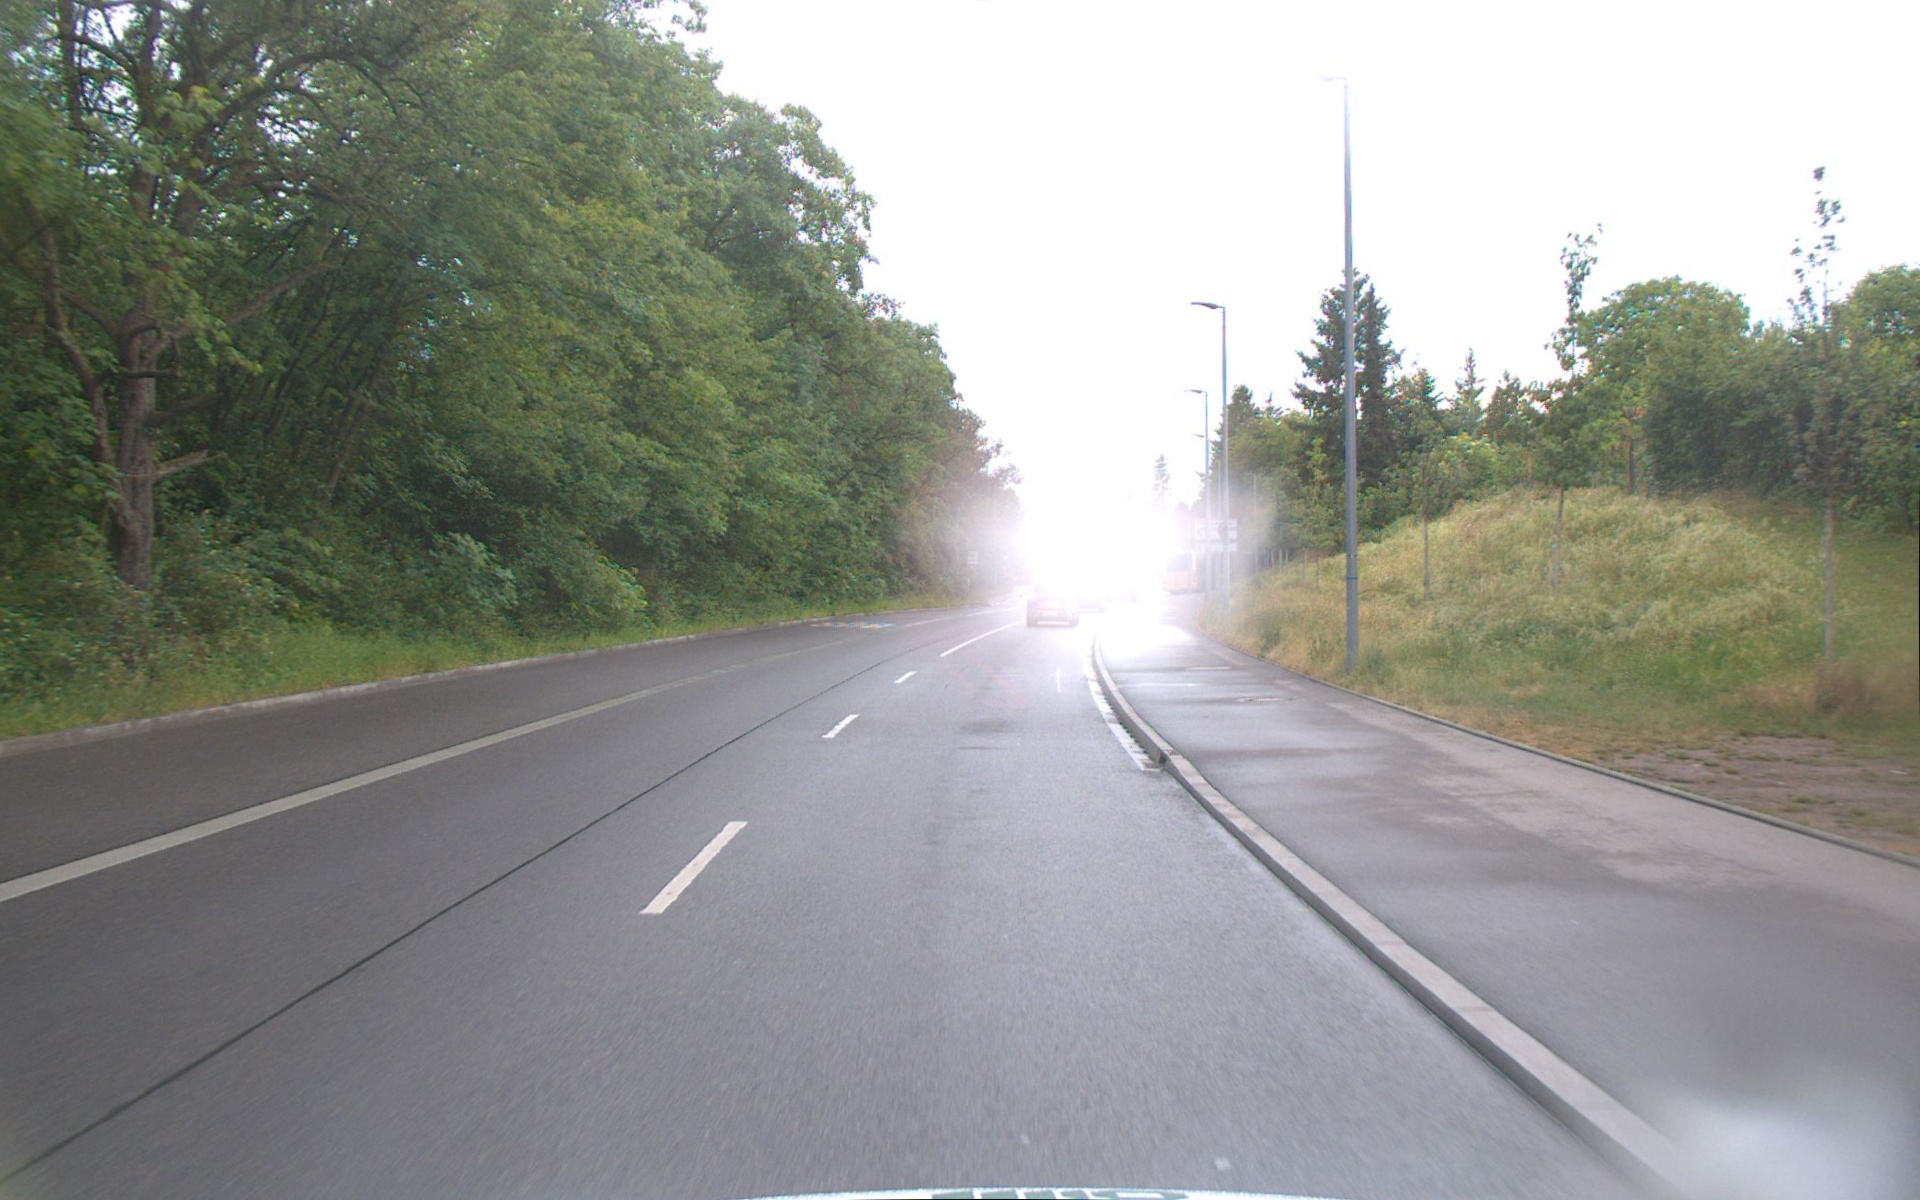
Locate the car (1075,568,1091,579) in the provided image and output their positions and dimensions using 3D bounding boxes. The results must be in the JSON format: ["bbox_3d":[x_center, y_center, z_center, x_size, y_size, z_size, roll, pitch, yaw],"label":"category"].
[{"bbox_3d":[16.634,-3.616,223.311,1.952,1.445,4.001,0,0,2],"label":"car"}]

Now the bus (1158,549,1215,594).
[{"bbox_3d":[16.837,-2.052,122.292,2.757,3.197,9.185,0,0,17],"label":"bus"}]

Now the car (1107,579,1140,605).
[{"bbox_3d":[9.988,-0.506,101.422,1.951,1.579,4.003,0,0,5],"label":"car"}]

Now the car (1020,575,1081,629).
[{"bbox_3d":[3.209,0.032,57.980,1.951,1.718,4.003,-2,2,5],"label":"car"}]

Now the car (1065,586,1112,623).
[{"bbox_3d":[6.064,0.190,77.662,1.886,1.512,3.803,-1,2,9],"label":"car"}]
